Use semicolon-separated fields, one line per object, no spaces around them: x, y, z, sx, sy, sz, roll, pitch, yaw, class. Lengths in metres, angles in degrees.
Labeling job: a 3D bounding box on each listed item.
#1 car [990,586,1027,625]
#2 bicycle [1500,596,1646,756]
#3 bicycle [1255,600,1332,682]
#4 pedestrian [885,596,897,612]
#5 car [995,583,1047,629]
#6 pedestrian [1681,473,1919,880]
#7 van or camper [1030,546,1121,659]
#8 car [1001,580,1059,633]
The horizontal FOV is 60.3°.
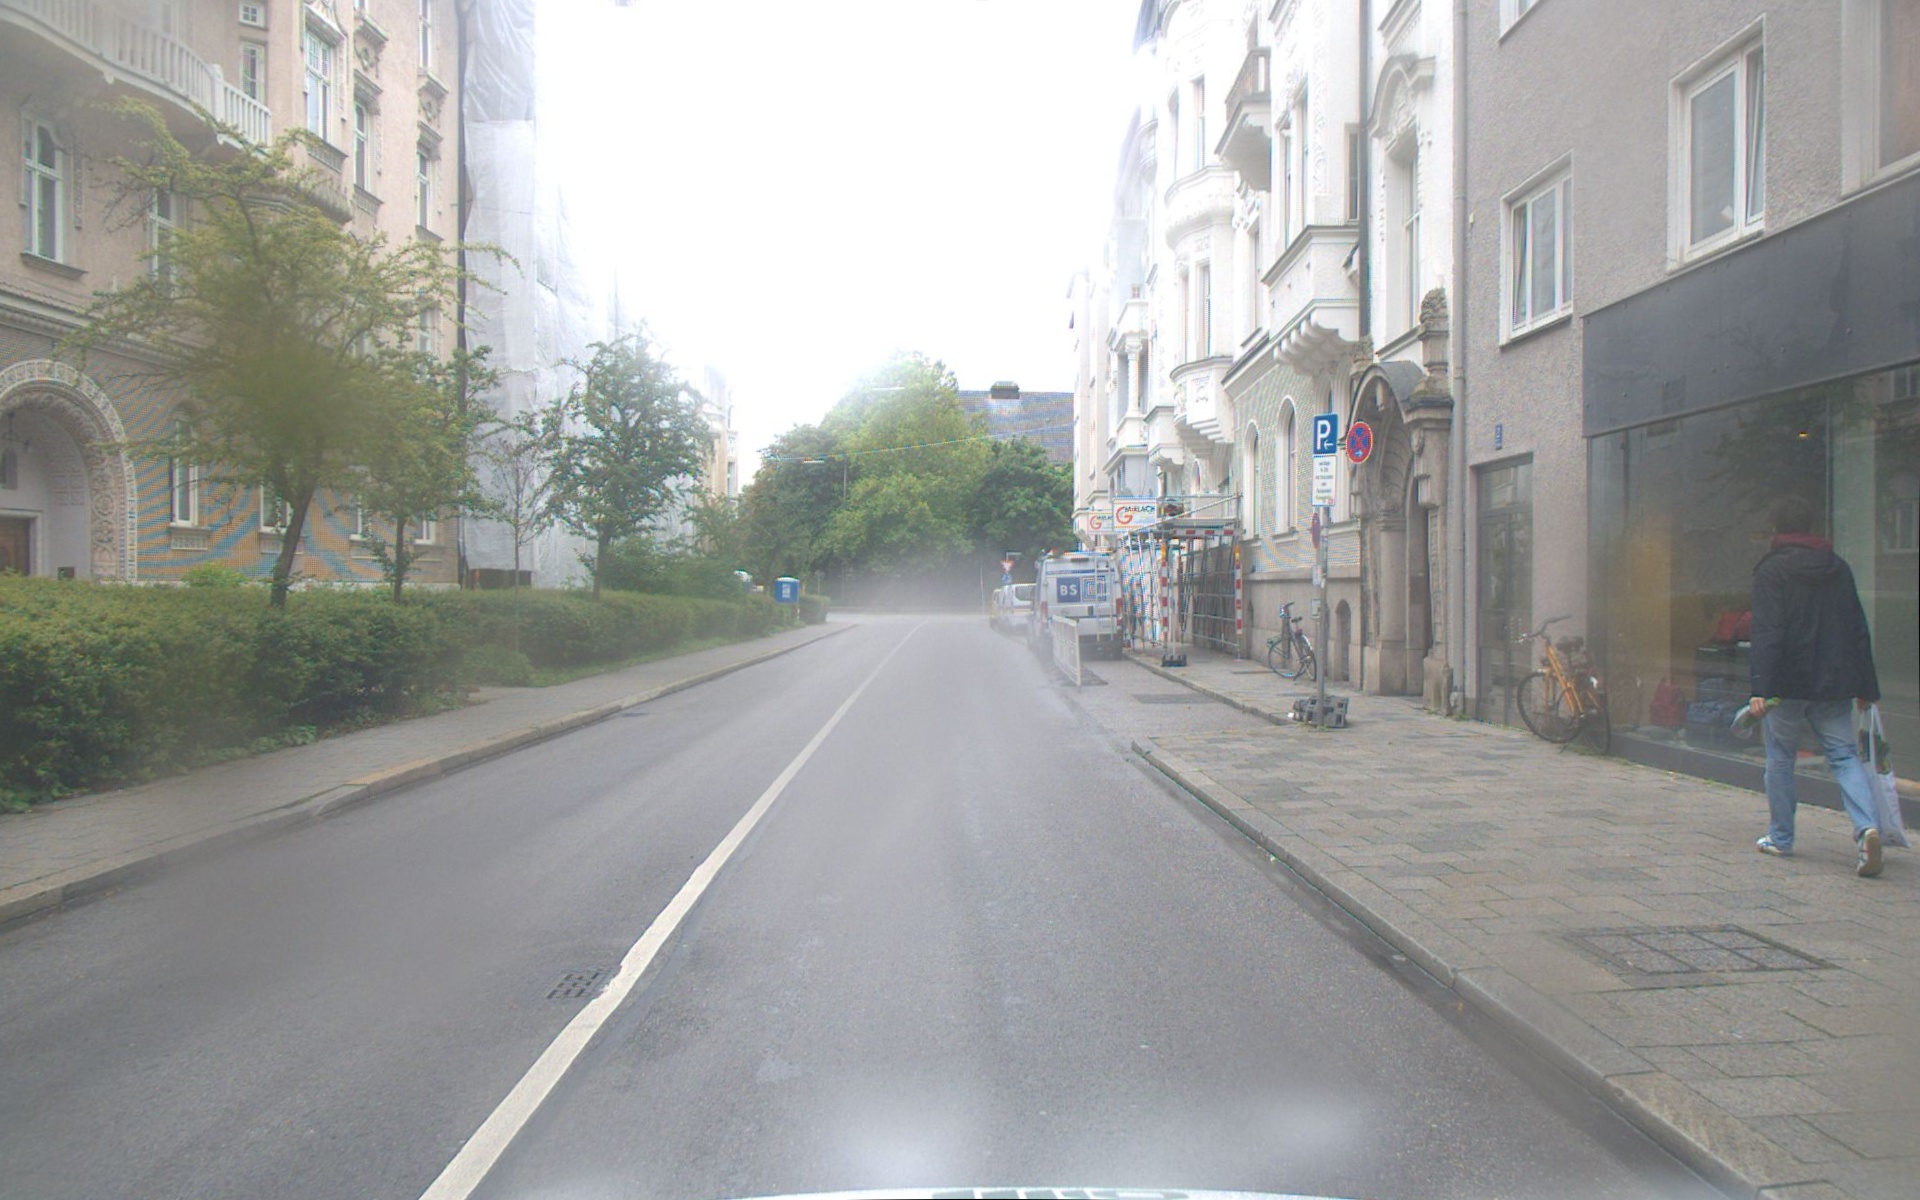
2.487;0.256;83.934;1.812;1.885;4.822;0;0;3;car
5.347;0.621;14.531;0.502;1.282;1.819;-4;0;-1;bicycle
5.332;0.629;26.568;0.647;1.227;1.920;-4;0;-4;bicycle
-5.245;0.292;125.293;0.794;1.209;0.920;0;0;6;pedestrian
2.664;0.246;72.870;1.920;1.971;4.991;-1;0;-2;car
4.483;0.361;8.567;0.908;1.943;1.179;-2;0;-1;pedestrian
2.874;0.063;42.091;1.913;2.683;5.458;0;0;0;van or camper
2.779;0.232;66.701;1.920;2.049;4.991;-1;0;-2;car
